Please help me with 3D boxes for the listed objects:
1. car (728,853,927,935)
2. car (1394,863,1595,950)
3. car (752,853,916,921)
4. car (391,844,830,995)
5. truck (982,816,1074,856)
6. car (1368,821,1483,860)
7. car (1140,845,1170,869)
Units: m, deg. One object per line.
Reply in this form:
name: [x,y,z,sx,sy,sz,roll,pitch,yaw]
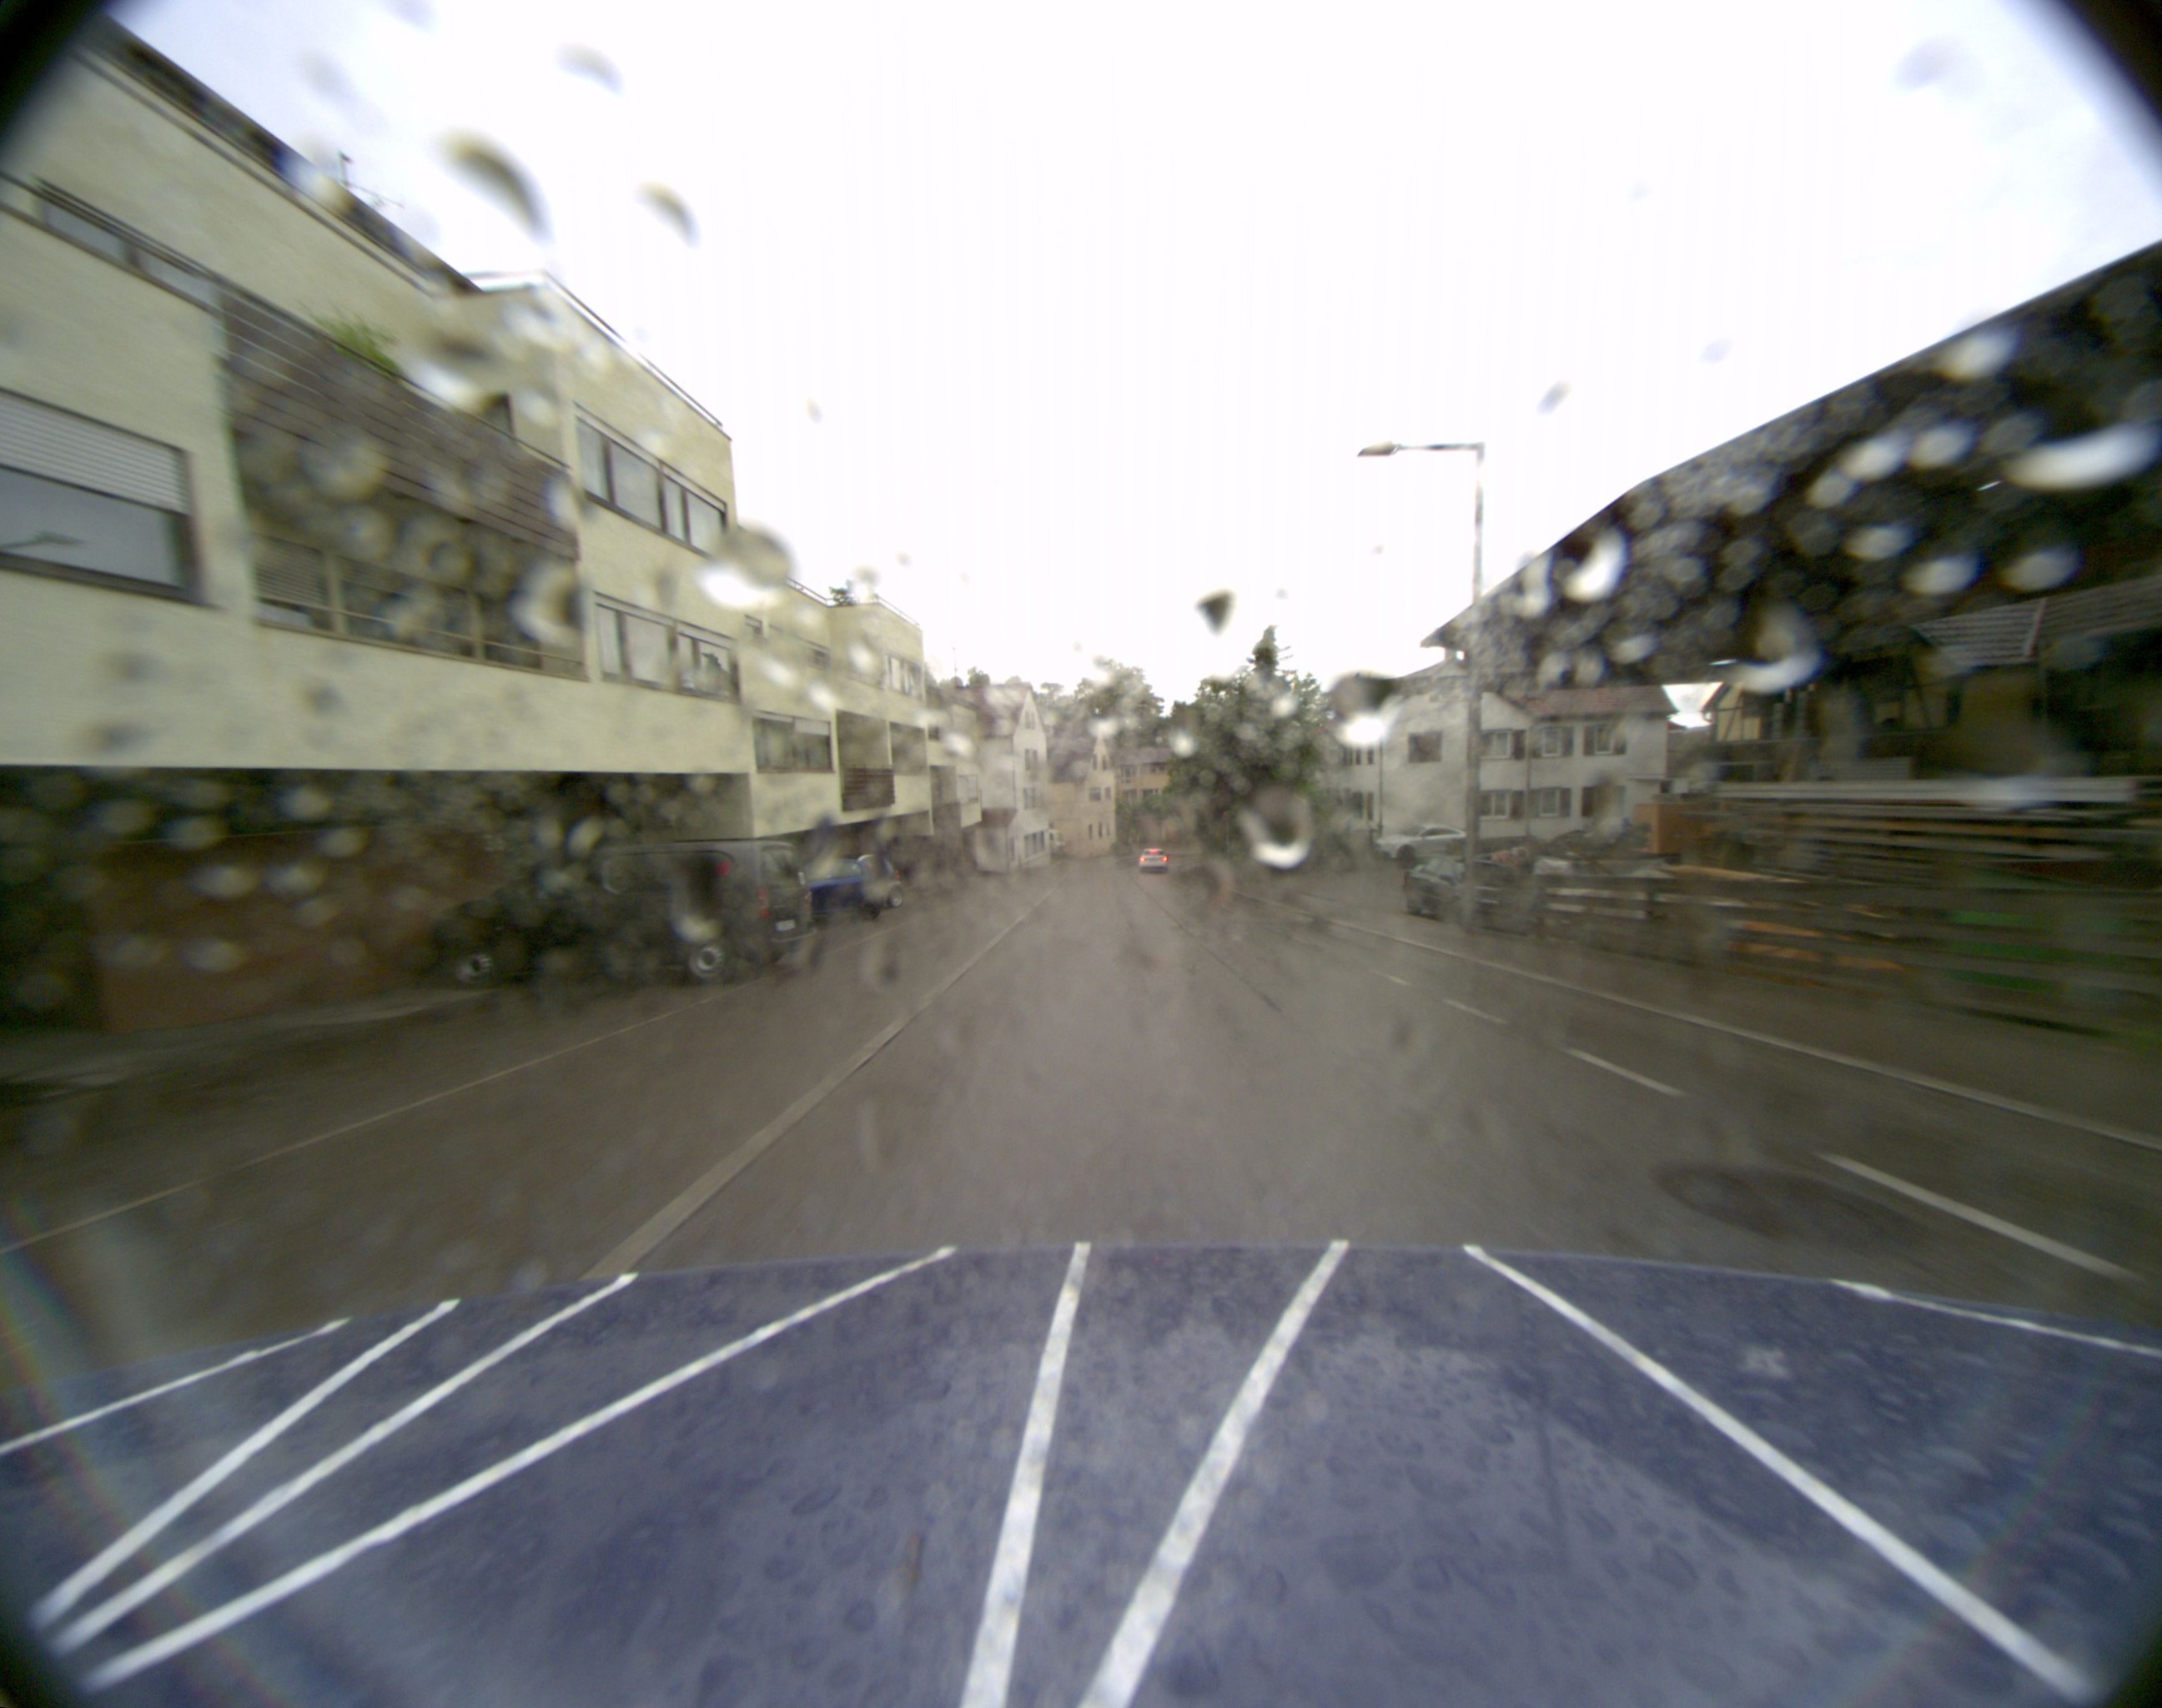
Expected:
car: [-5.917,0.874,18.126,1.783,1.569,4.074,-3,1,40]
car: [8.229,0.956,15.678,1.899,1.433,4.446,1,0,3]
car: [-6.620,0.847,20.835,1.783,1.569,4.073,-3,0,29]
car: [-6.150,0.813,10.383,4.719,1.809,2.000,-1,0,1]
truck: [-4.291,-1.439,61.263,6.963,2.688,2.143,5,3,16]
car: [14.321,-0.582,31.781,3.996,1.500,1.803,-1,3,2]
car: [4.648,0.176,47.293,1.706,1.380,4.052,1,1,7]
